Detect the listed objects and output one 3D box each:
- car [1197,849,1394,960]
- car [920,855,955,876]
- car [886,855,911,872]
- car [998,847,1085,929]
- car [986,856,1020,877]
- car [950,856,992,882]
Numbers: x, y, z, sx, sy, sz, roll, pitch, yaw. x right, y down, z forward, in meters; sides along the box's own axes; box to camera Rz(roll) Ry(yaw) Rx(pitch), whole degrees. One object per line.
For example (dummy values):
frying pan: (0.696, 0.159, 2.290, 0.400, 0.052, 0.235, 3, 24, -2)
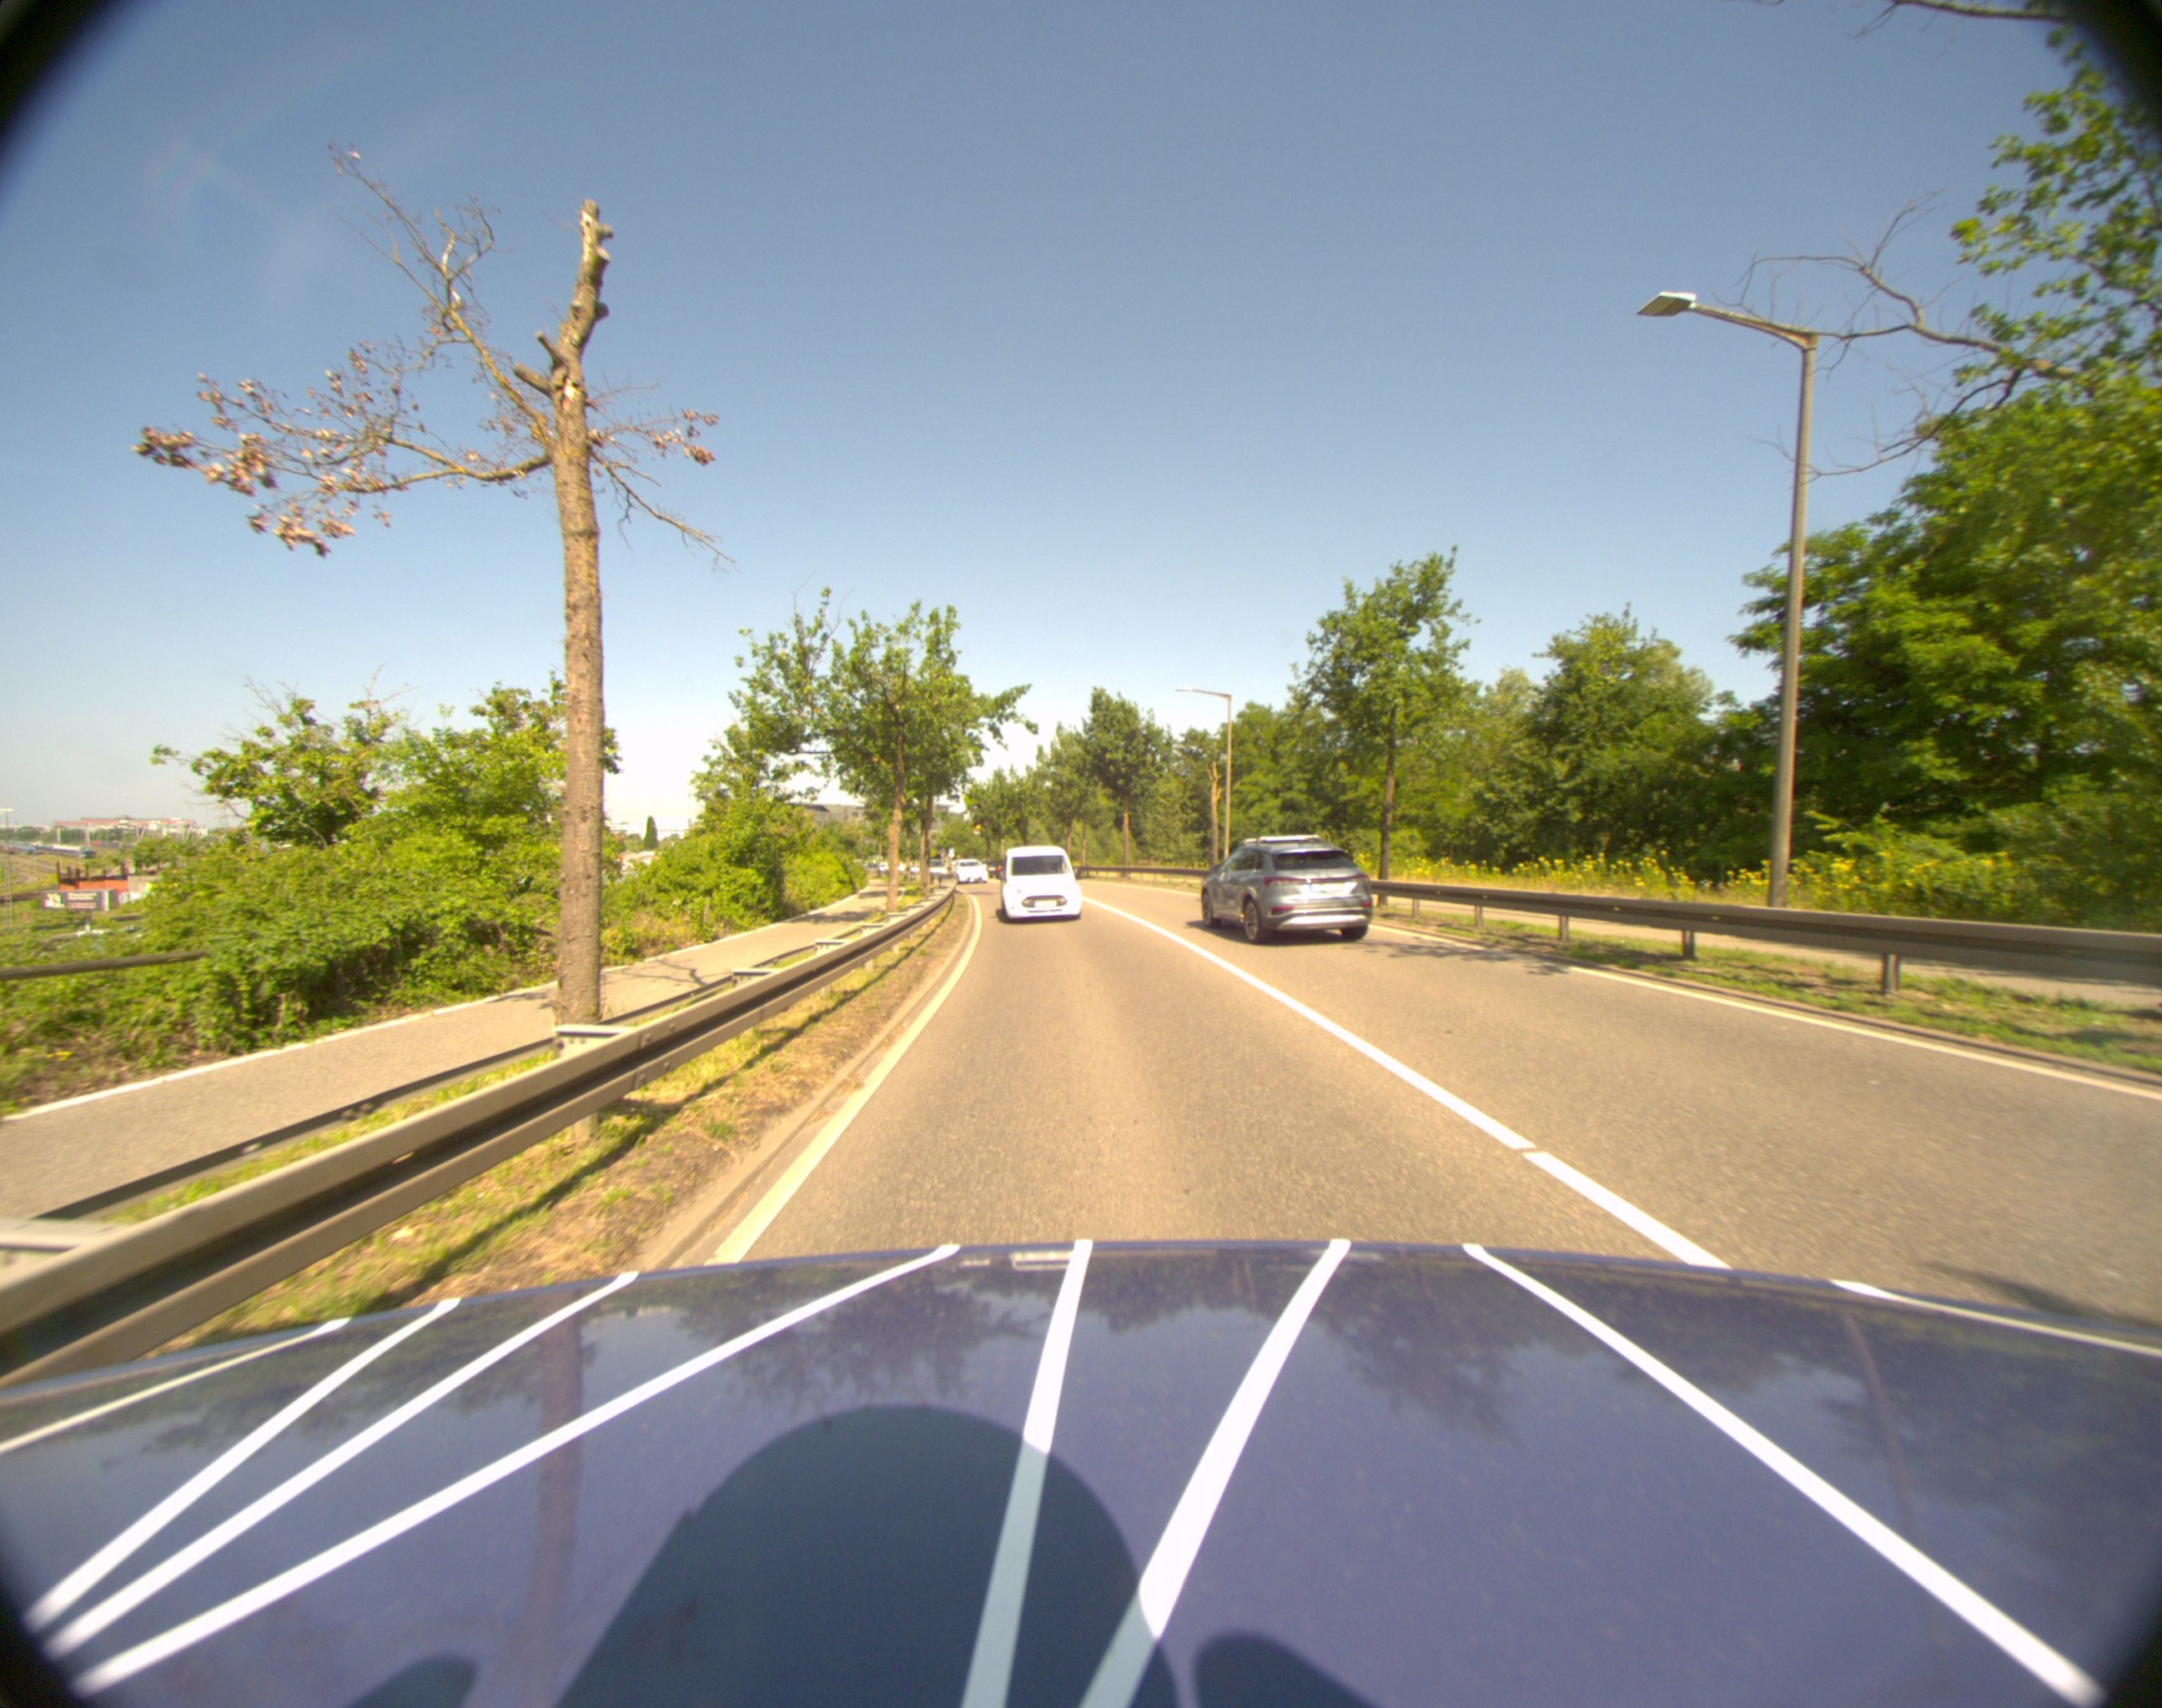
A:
car: (3.458, 0.733, 13.159, 1.936, 1.524, 4.115, -3, 0, -4)
car: (-11.479, 0.872, 60.515, 2.002, 1.576, 3.993, -2, 0, -21)
car: (-20.592, 1.009, 85.602, 2.002, 1.757, 3.992, -3, 1, -24)
car: (-1.071, 0.759, 19.346, 1.898, 1.785, 4.445, -2, 0, -5)
car: (-5.792, 0.892, 56.081, 1.708, 1.440, 4.115, -3, 1, -16)
car: (-6.843, 0.923, 47.092, 1.848, 1.479, 4.145, -2, 0, -18)
